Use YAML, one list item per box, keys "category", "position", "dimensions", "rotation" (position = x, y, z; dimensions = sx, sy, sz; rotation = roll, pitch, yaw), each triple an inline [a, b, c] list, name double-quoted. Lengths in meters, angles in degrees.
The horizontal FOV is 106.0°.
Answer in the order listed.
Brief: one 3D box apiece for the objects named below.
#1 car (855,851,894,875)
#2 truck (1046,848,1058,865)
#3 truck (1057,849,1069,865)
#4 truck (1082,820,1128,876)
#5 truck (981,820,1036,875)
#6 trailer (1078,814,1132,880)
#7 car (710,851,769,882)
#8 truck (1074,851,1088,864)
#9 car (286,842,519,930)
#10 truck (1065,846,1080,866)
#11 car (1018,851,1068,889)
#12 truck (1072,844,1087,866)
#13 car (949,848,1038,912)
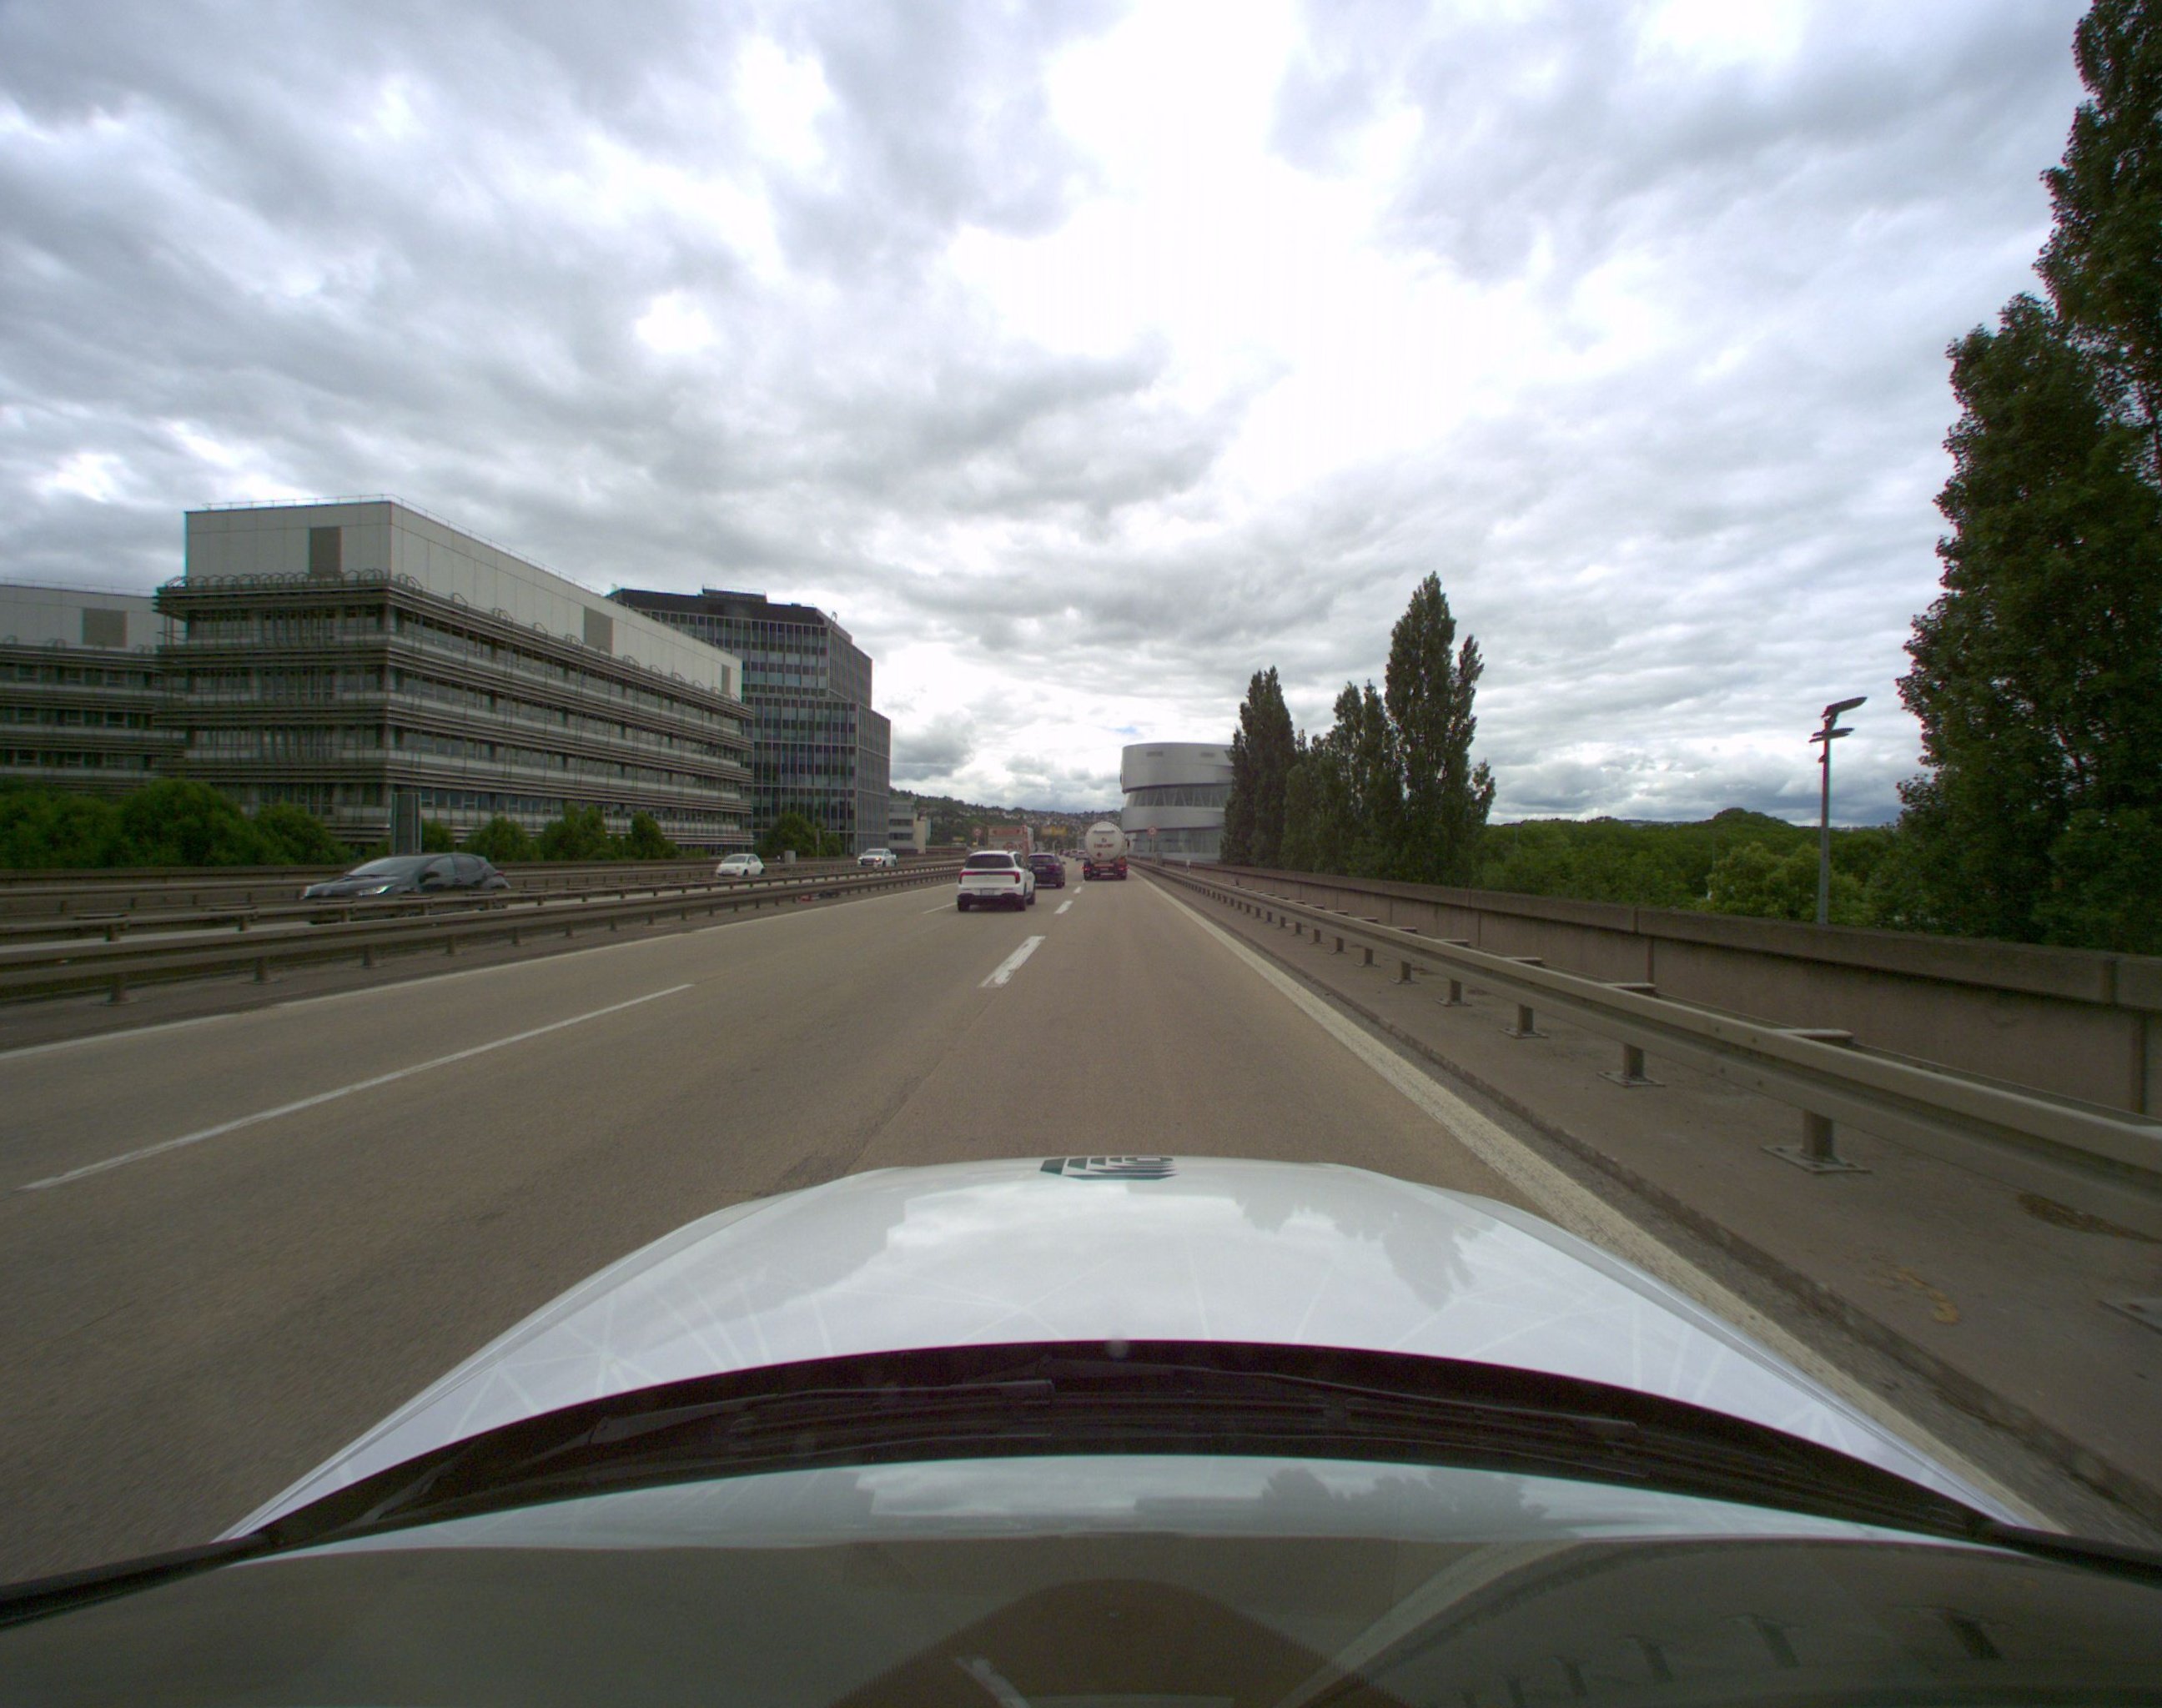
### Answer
- category: "car"
  position: [-15.484, 0.686, 61.251]
  dimensions: [1.780, 1.720, 3.777]
  rotation: [1, 0, 2]
- category: "truck"
  position: [-7.780, 0.663, 217.018]
  dimensions: [3.051, 4.562, 8.292]
  rotation: [0, 0, -4]
- category: "truck"
  position: [-5.272, 0.786, 234.236]
  dimensions: [3.051, 4.562, 8.292]
  rotation: [0, 0, -4]
- category: "truck"
  position: [1.669, -0.376, 56.108]
  dimensions: [3.003, 3.657, 6.276]
  rotation: [0, -1, 2]
- category: "truck"
  position: [-5.178, -0.406, 59.657]
  dimensions: [3.045, 3.691, 8.307]
  rotation: [0, 0, 2]
- category: "trailer"
  position: [1.491, -0.375, 50.728]
  dimensions: [3.045, 3.790, 8.307]
  rotation: [0, 0, 2]
- category: "car"
  position: [-19.553, 0.701, 46.843]
  dimensions: [1.676, 1.650, 3.777]
  rotation: [1, 0, 2]
- category: "truck"
  position: [0.013, 0.598, 135.976]
  dimensions: [2.248, 2.164, 5.068]
  rotation: [0, 0, 1]
- category: "car"
  position: [-14.218, 0.616, 17.389]
  dimensions: [1.676, 1.650, 3.777]
  rotation: [1, 0, 2]
- category: "truck"
  position: [-2.140, 0.452, 195.298]
  dimensions: [3.051, 4.562, 8.292]
  rotation: [0, 0, -4]
- category: "car"
  position: [-1.707, 0.739, 38.340]
  dimensions: [1.986, 1.675, 4.410]
  rotation: [0, -1, 2]
- category: "truck"
  position: [-0.203, 0.251, 171.486]
  dimensions: [3.046, 4.562, 8.304]
  rotation: [0, 0, 1]
- category: "car"
  position: [-2.425, 0.714, 23.751]
  dimensions: [1.986, 1.675, 4.410]
  rotation: [0, -1, 2]
